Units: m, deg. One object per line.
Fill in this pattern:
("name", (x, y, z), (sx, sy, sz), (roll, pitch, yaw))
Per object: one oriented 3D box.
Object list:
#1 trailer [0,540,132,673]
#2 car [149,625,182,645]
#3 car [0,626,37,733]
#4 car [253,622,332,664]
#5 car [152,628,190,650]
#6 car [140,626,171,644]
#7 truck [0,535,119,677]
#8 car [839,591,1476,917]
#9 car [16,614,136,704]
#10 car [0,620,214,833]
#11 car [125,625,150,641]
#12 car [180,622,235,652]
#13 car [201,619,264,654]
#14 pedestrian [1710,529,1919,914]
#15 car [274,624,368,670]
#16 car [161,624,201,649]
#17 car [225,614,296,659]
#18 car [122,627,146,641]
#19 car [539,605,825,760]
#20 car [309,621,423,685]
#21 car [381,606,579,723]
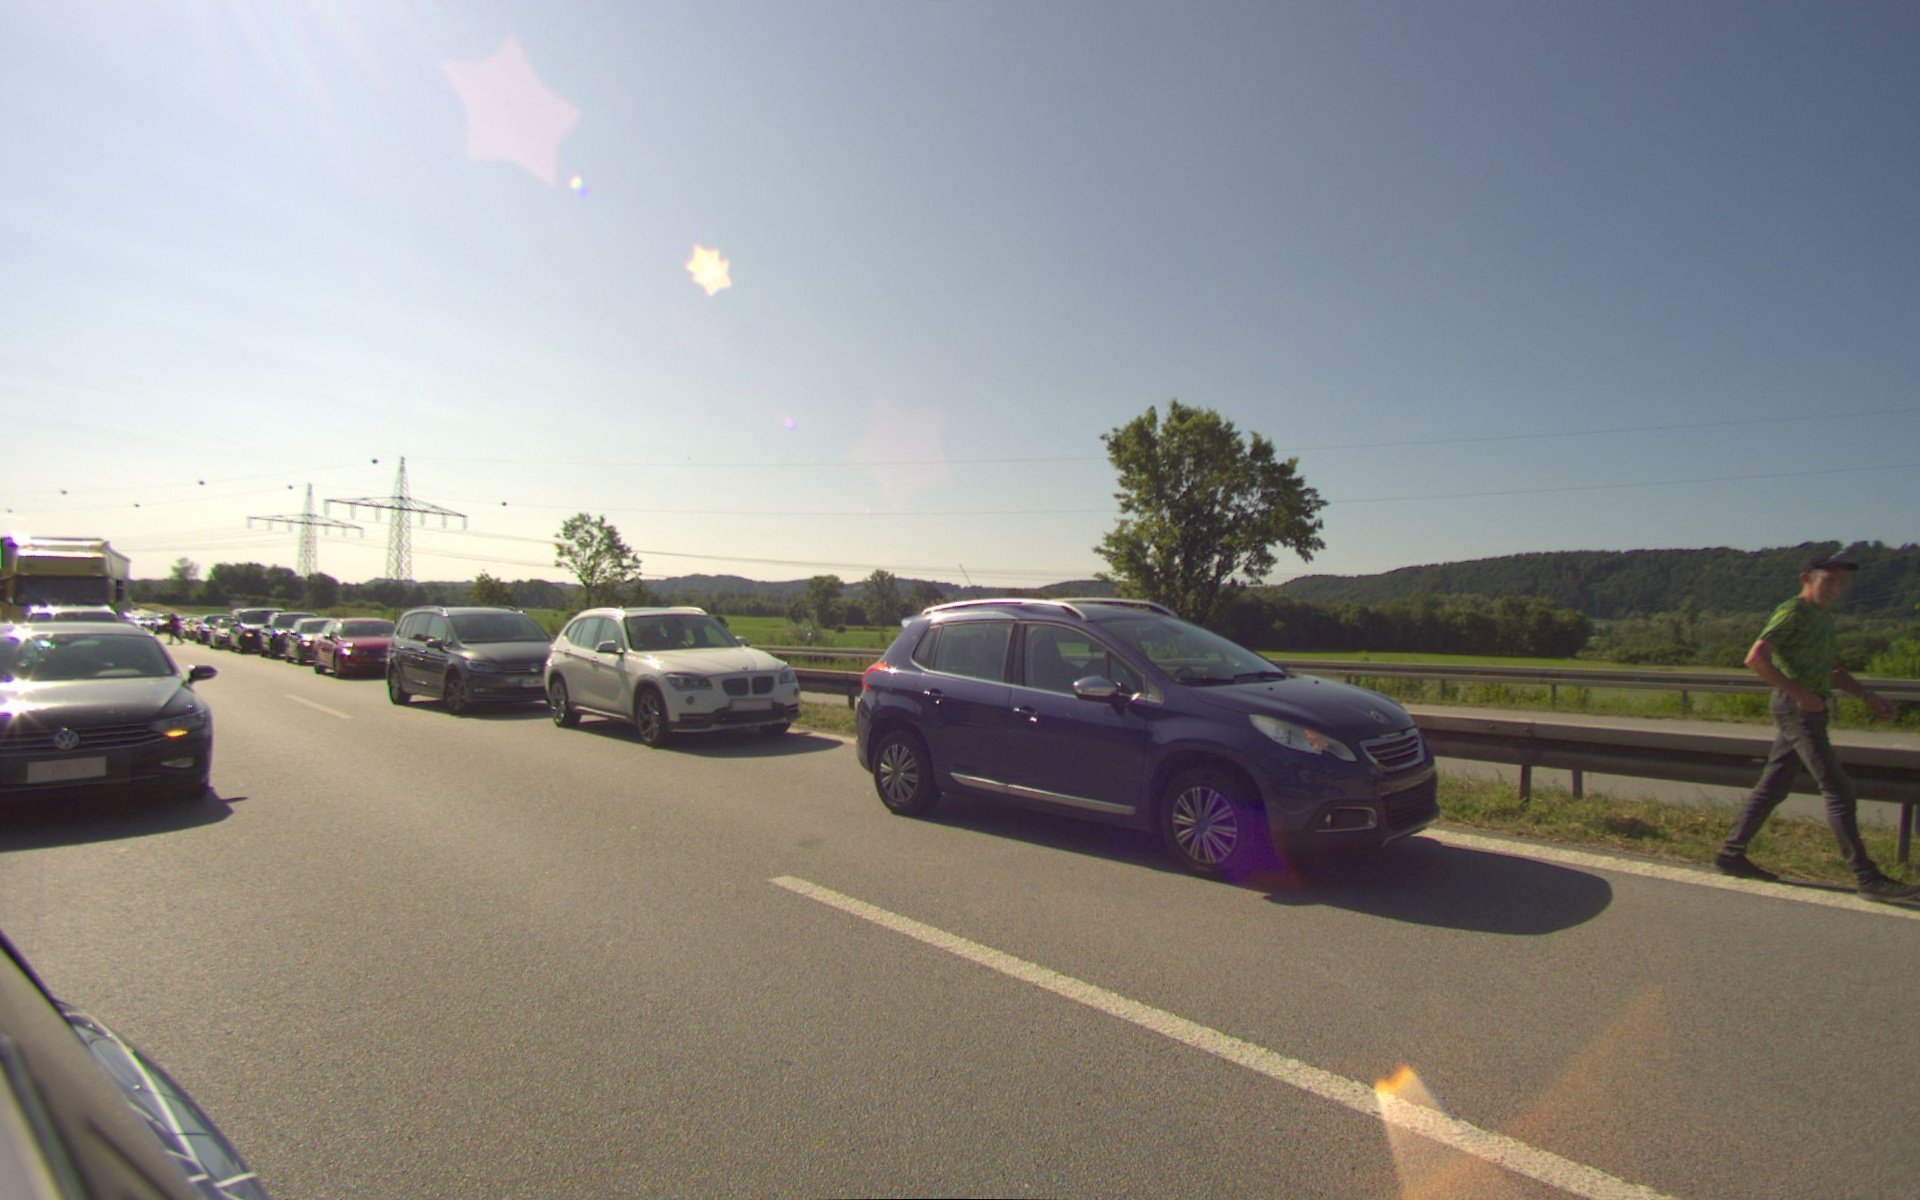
("trailer", (-33.298, 0.270, 37.811), (3.336, 4.144, 13.981), (0, 0, -38))
("car", (-60.791, 2.658, 77.441), (1.792, 1.470, 4.123), (2, -2, -41))
("car", (-14.751, 1.109, 14.843), (1.691, 1.436, 4.331), (0, -1, -41))
("car", (-24.548, 1.550, 37.165), (1.866, 1.466, 4.005), (2, -2, -41))
("car", (-53.952, 2.652, 69.184), (1.793, 1.470, 4.123), (2, -2, -41))
("car", (-66.509, 2.881, 83.642), (1.793, 1.470, 4.123), (0, -1, -42))
("truck", (-29.548, 0.211, 32.972), (3.283, 4.144, 6.982), (0, 0, -40))
("car", (1.074, 0.763, 6.825), (1.668, 1.546, 3.951), (-1, -1, -45))
("car", (-17.988, 1.123, 20.636), (1.691, 1.636, 4.331), (0, -1, -41))
("car", (-7.677, 0.902, 8.690), (1.691, 1.424, 4.331), (0, -1, -41))
("car", (-80.255, 3.165, 98.714), (1.792, 1.470, 4.124), (0, -1, -40))
("car", (-40.405, 1.954, 54.325), (1.969, 1.542, 4.005), (2, -2, -42))
("car", (-34.143, 1.700, 47.447), (1.969, 1.542, 4.005), (2, -2, -42))
("pedestrian", (4.412, 0.569, 5.142), (0.662, 1.764, 0.815), (2, -3, -41))
("car", (-20.585, 1.468, 32.528), (1.867, 1.409, 4.005), (2, -2, -42))
("car", (-49.523, 2.306, 64.300), (1.792, 1.470, 4.124), (0, -1, -40))
("car", (-29.222, 1.508, 42.218), (1.874, 1.801, 4.205), (2, -2, -42))
("car", (-83.995, 3.451, 102.945), (1.792, 1.470, 4.124), (2, -2, -40))
("car", (-3.585, 0.895, 12.560), (1.805, 1.586, 4.169), (1, -2, -41))
("car", (-15.138, 1.294, 25.709), (1.792, 1.470, 4.124), (2, -2, -40))
("car", (-7.861, 0.946, 16.391), (1.793, 1.628, 4.122), (0, -1, -42))
